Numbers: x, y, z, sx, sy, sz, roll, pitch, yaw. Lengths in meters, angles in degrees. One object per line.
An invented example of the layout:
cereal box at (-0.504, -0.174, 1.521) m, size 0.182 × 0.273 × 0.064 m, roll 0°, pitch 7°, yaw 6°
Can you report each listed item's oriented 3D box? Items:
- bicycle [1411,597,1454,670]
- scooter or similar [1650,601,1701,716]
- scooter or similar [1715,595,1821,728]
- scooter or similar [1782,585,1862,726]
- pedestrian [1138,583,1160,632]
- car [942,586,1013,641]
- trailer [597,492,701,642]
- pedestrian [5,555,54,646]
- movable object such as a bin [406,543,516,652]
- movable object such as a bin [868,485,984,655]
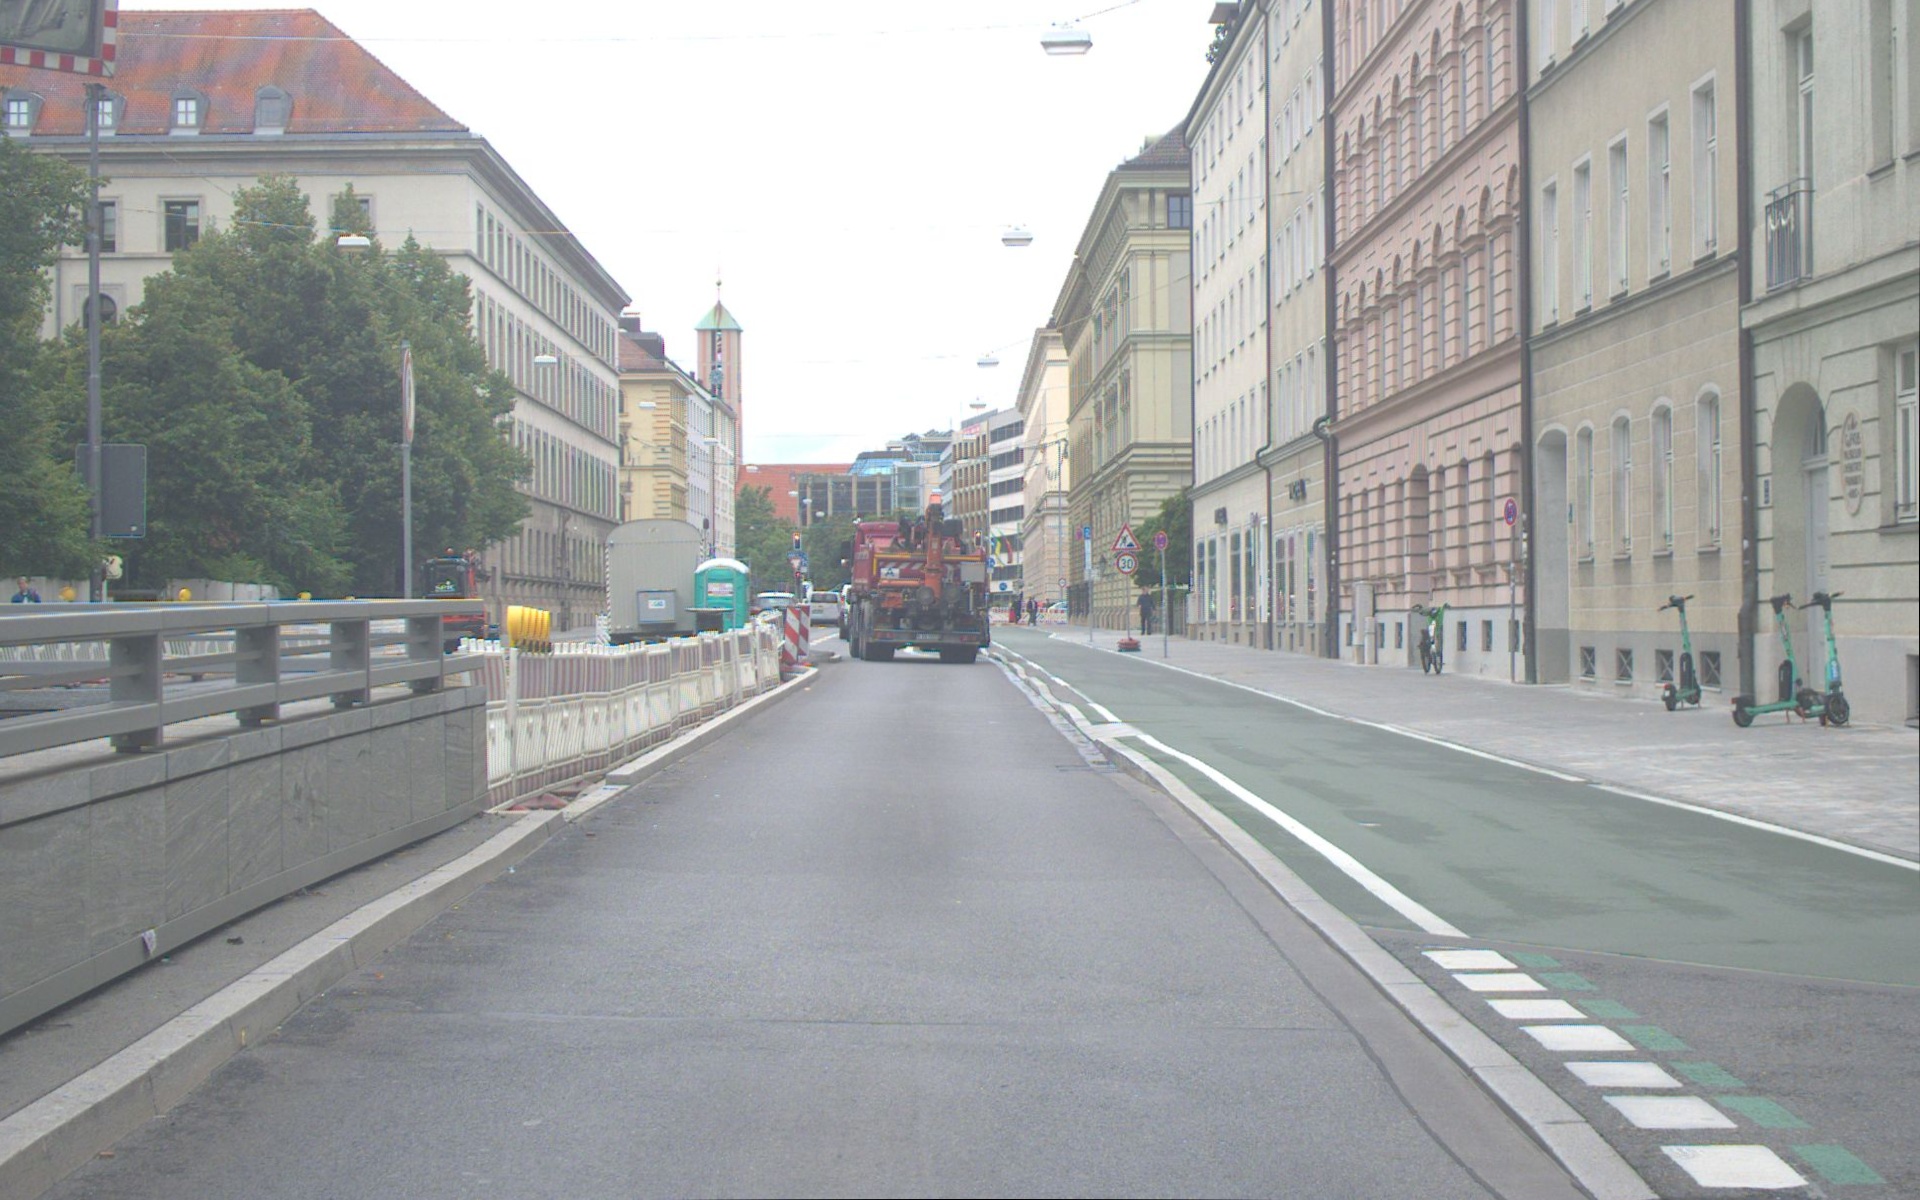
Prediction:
bicycle at (7.754, 0.546, 56.339) m, size 0.426 × 1.170 × 1.730 m, roll -1°, pitch 0°, yaw 17°
scooter or similar at (7.807, 0.630, 37.483) m, size 0.247 × 1.227 × 1.118 m, roll -2°, pitch -1°, yaw 25°
scooter or similar at (7.719, 0.581, 32.834) m, size 1.116 × 1.227 × 0.247 m, roll -2°, pitch -1°, yaw -34°
scooter or similar at (7.948, 0.508, 31.728) m, size 0.386 × 1.268 × 1.119 m, roll -2°, pitch -1°, yaw -1°
pedestrian at (7.034, 0.282, 128.007) m, size 0.790 × 1.830 × 0.777 m, roll 0°, pitch 0°, yaw 1°
car at (0.449, 0.358, 95.191) m, size 1.801 × 1.475 × 4.687 m, roll -1°, pitch 0°, yaw -2°
trailer at (-7.077, -0.725, 78.117) m, size 2.226 × 3.232 × 7.520 m, roll 0°, pitch 0°, yaw -5°
pedestrian at (-16.451, 0.007, 60.799) m, size 0.663 × 1.597 × 0.698 m, roll 1°, pitch 0°, yaw 1°
movable object such as a bin at (-12.047, -0.072, 83.177) m, size 1.924 × 2.563 × 4.492 m, roll 1°, pitch 0°, yaw 1°
movable object such as a bin at (-0.802, -0.632, 75.908) m, size 2.423 × 3.599 × 5.852 m, roll 0°, pitch 0°, yaw -2°
